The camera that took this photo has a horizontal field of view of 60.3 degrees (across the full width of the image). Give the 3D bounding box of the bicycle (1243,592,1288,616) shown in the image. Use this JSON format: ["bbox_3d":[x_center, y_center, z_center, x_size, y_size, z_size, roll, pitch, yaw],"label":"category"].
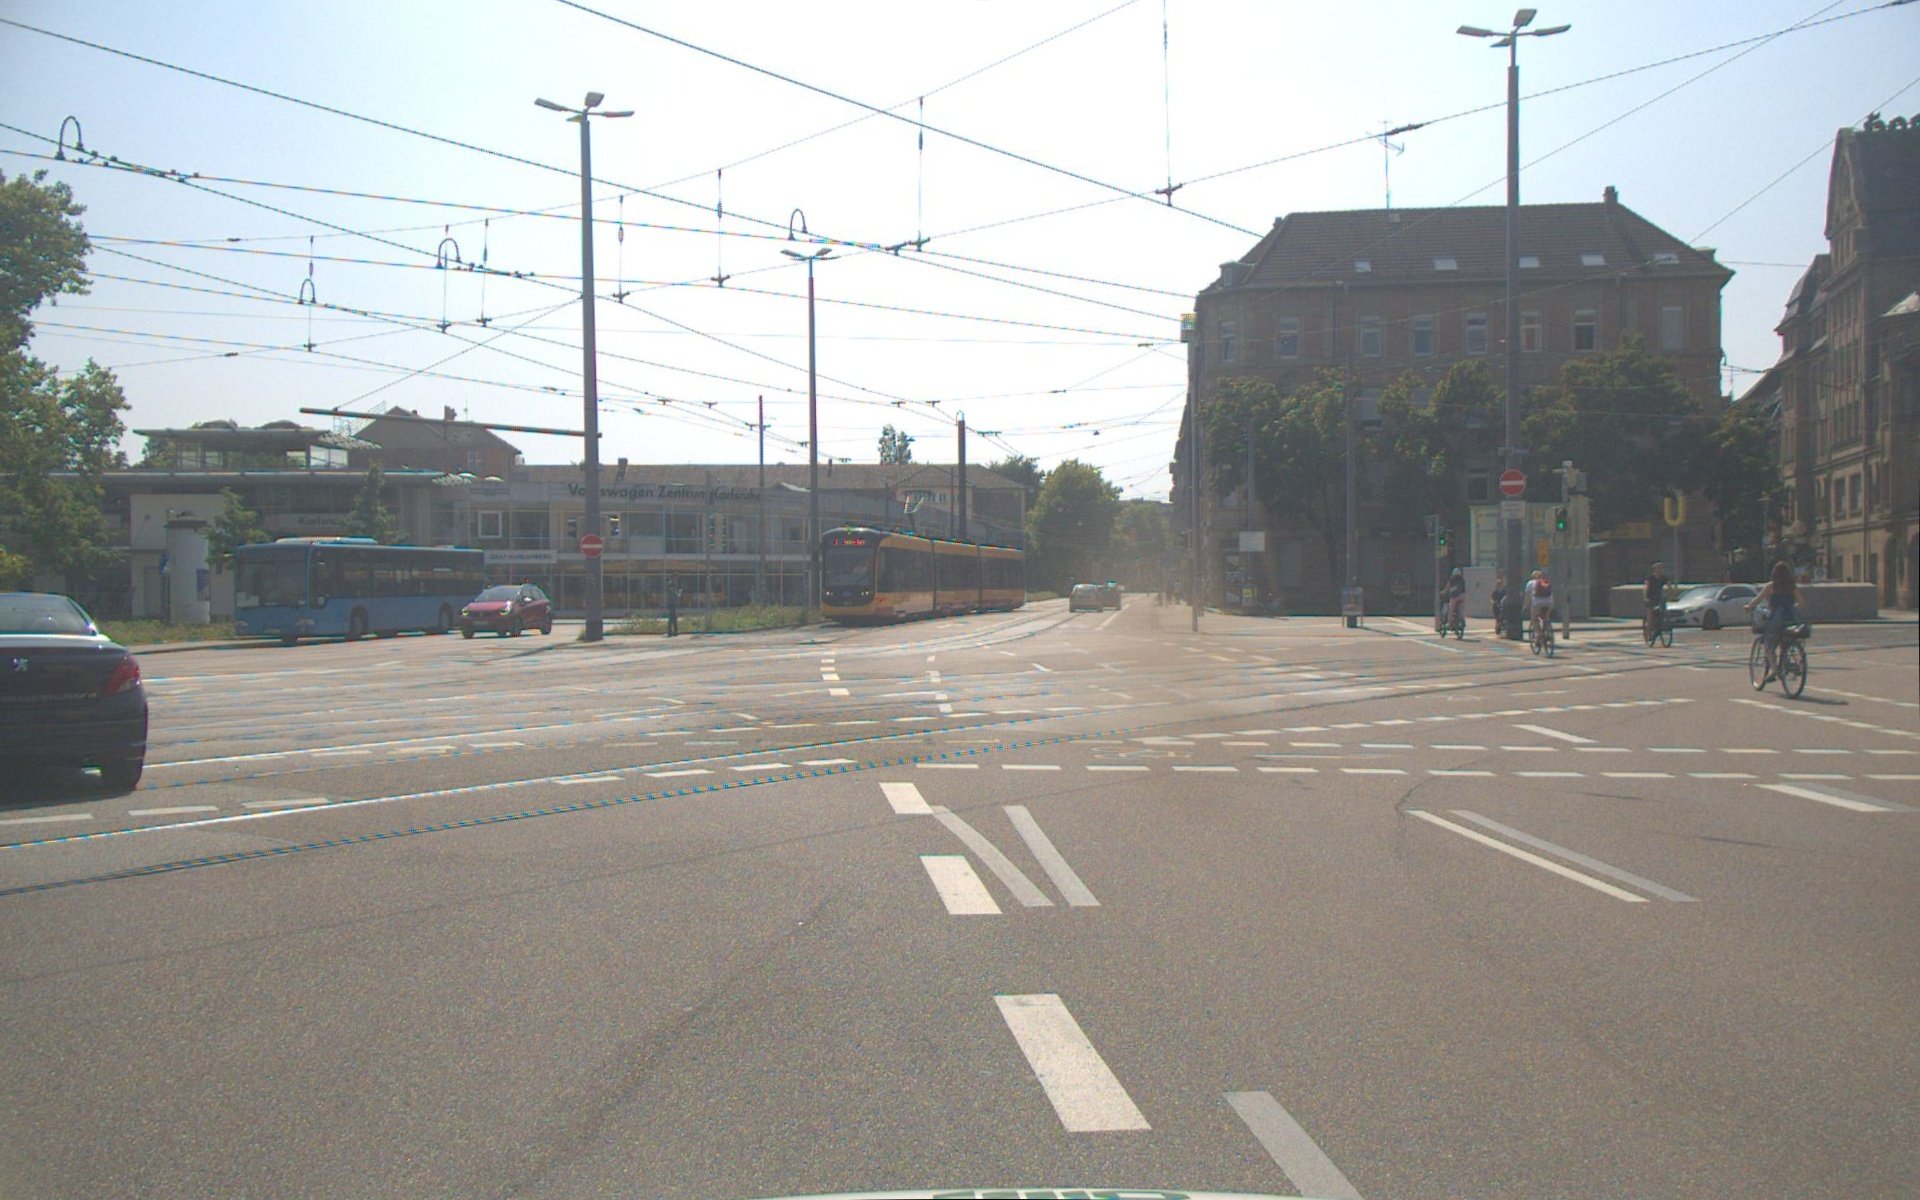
[{"bbox_3d":[12.446,0.170,67.348,1.745,0.974,0.462,-1,0,1],"label":"bicycle"}]

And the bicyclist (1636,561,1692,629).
[{"bbox_3d":[15.247,-0.100,35.833,0.785,1.448,0.930,1,-1,-2],"label":"bicyclist"}]

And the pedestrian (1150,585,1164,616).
[{"bbox_3d":[12.945,0.021,108.767,0.775,2.049,0.810,1,-1,-1],"label":"pedestrian"}]

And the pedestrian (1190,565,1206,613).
[{"bbox_3d":[10.190,-0.485,70.867,0.635,2.049,0.704,-1,0,4],"label":"pedestrian"}]

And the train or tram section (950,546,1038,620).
[{"bbox_3d":[1.947,-0.780,87.716,2.532,3.623,12.227,1,0,11],"label":"train or tram section"}]

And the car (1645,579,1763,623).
[{"bbox_3d":[23.699,0.049,52.668,3.674,1.311,1.573,1,-1,-29],"label":"car"}]

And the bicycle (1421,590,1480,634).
[{"bbox_3d":[11.763,0.278,39.743,0.631,1.016,2.374,-1,0,-2],"label":"bicycle"}]

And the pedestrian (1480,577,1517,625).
[{"bbox_3d":[15.680,0.026,48.175,0.706,1.375,0.812,-1,0,-17],"label":"pedestrian"}]

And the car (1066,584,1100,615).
[{"bbox_3d":[6.513,-0.016,88.033,1.696,1.601,3.613,1,0,3],"label":"car"}]

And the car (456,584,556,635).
[{"bbox_3d":[-13.841,0.272,50.643,1.590,1.497,3.775,0,1,7],"label":"car"}]

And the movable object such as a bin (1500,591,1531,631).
[{"bbox_3d":[15.800,0.319,47.076,0.800,1.104,1.039,1,-1,17],"label":"movable object such as a bin"}]

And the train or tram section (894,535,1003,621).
[{"bbox_3d":[-0.349,-0.891,76.166,2.532,3.623,12.227,1,0,11],"label":"train or tram section"}]

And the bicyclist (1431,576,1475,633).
[{"bbox_3d":[11.755,0.101,39.437,0.732,1.343,0.921,-1,0,-2],"label":"bicyclist"}]

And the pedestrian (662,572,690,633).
[{"bbox_3d":[-8.097,0.066,47.155,0.787,1.717,0.717,-1,0,-10],"label":"pedestrian"}]

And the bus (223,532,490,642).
[{"bbox_3d":[-18.917,-0.414,53.134,2.667,3.118,12.092,0,0,8],"label":"bus"}]

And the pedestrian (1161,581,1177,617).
[{"bbox_3d":[12.183,-0.068,96.482,0.822,2.049,0.810,1,-1,-1],"label":"pedestrian"}]

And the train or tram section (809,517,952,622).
[{"bbox_3d":[-2.810,-1.010,63.717,2.532,3.623,12.227,1,0,11],"label":"train or tram section"}]

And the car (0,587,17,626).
[{"bbox_3d":[-52.951,0.318,90.461,2.302,2.049,6.738,1,0,-30],"label":"car"}]

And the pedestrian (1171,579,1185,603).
[{"bbox_3d":[15.621,-0.647,118.473,0.822,1.700,0.810,1,0,-1],"label":"pedestrian"}]

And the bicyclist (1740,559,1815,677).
[{"bbox_3d":[10.659,0.227,21.582,0.643,1.507,0.644,-1,0,-2],"label":"bicyclist"}]

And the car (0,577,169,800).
[{"bbox_3d":[-7.363,0.580,12.461,1.777,1.456,3.946,-1,0,-37],"label":"car"}]

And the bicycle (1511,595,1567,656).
[{"bbox_3d":[11.002,0.468,31.463,0.431,1.131,1.642,-1,0,-2],"label":"bicycle"}]

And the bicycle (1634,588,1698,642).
[{"bbox_3d":[15.262,0.320,35.792,0.461,1.146,1.956,1,0,-2],"label":"bicycle"}]

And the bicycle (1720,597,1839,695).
[{"bbox_3d":[10.693,0.568,21.663,0.431,1.130,2.128,-1,2,-2],"label":"bicycle"}]

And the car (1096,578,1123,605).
[{"bbox_3d":[8.766,-0.492,97.230,1.478,1.537,3.626,-1,0,4],"label":"car"}]

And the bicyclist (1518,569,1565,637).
[{"bbox_3d":[11.018,0.059,31.364,0.643,1.276,0.644,-1,0,-2],"label":"bicyclist"}]
